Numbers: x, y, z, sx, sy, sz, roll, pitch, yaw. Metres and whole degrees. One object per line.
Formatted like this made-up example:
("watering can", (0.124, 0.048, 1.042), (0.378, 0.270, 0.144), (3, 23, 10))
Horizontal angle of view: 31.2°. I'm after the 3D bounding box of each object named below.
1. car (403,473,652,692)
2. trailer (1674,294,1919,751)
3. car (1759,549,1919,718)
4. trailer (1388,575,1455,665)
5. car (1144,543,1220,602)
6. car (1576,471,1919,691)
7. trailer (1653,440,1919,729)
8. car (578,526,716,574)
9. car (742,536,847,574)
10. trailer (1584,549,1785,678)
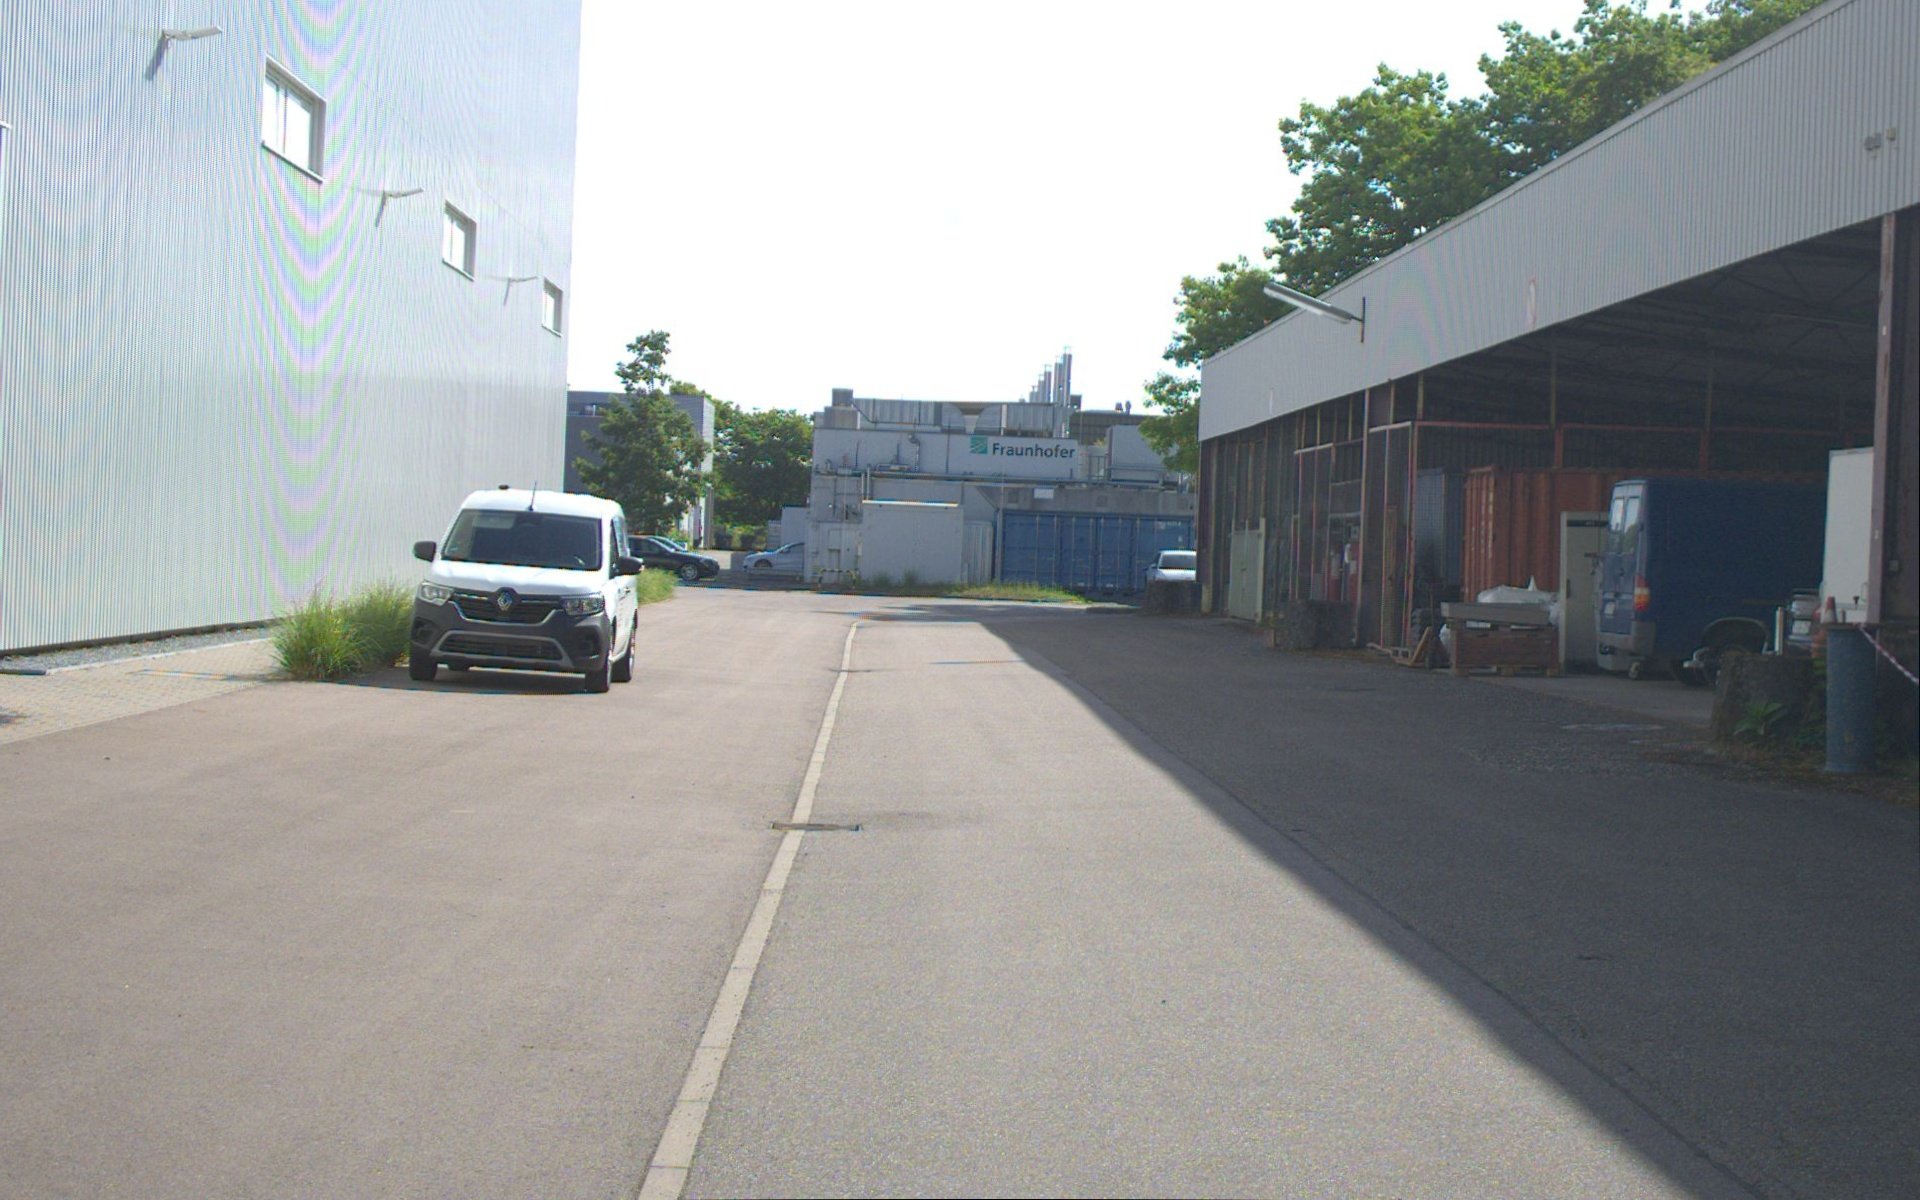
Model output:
("car", (-4.002, -0.177, 32.486), (1.783, 1.809, 4.602), (4, 0, -1))
("trailer", (10.984, -0.532, 26.623), (10.267, 3.331, 2.801), (1, 1, -1))
("car", (9.751, 0.329, 31.672), (4.247, 1.466, 1.870), (2, 1, -4))
("trailer", (5.843, 0.241, 43.575), (0.551, 1.114, 1.547), (1, 0, -3))
("car", (6.566, -0.844, 102.160), (1.979, 1.597, 4.377), (1, 2, 0))
("car", (9.703, -0.181, 37.905), (5.332, 2.273, 2.153), (2, 0, -2))
("trailer", (8.343, -0.118, 29.086), (4.516, 2.334, 2.047), (1, 0, 0))
("car", (-10.394, -1.655, 114.345), (4.447, 1.526, 1.824), (1, 0, -1))
("car", (-6.836, -1.859, 142.302), (4.302, 1.452, 1.824), (1, 0, -1))
("trailer", (8.509, 0.141, 40.504), (2.038, 1.461, 1.738), (1, 1, 3))
